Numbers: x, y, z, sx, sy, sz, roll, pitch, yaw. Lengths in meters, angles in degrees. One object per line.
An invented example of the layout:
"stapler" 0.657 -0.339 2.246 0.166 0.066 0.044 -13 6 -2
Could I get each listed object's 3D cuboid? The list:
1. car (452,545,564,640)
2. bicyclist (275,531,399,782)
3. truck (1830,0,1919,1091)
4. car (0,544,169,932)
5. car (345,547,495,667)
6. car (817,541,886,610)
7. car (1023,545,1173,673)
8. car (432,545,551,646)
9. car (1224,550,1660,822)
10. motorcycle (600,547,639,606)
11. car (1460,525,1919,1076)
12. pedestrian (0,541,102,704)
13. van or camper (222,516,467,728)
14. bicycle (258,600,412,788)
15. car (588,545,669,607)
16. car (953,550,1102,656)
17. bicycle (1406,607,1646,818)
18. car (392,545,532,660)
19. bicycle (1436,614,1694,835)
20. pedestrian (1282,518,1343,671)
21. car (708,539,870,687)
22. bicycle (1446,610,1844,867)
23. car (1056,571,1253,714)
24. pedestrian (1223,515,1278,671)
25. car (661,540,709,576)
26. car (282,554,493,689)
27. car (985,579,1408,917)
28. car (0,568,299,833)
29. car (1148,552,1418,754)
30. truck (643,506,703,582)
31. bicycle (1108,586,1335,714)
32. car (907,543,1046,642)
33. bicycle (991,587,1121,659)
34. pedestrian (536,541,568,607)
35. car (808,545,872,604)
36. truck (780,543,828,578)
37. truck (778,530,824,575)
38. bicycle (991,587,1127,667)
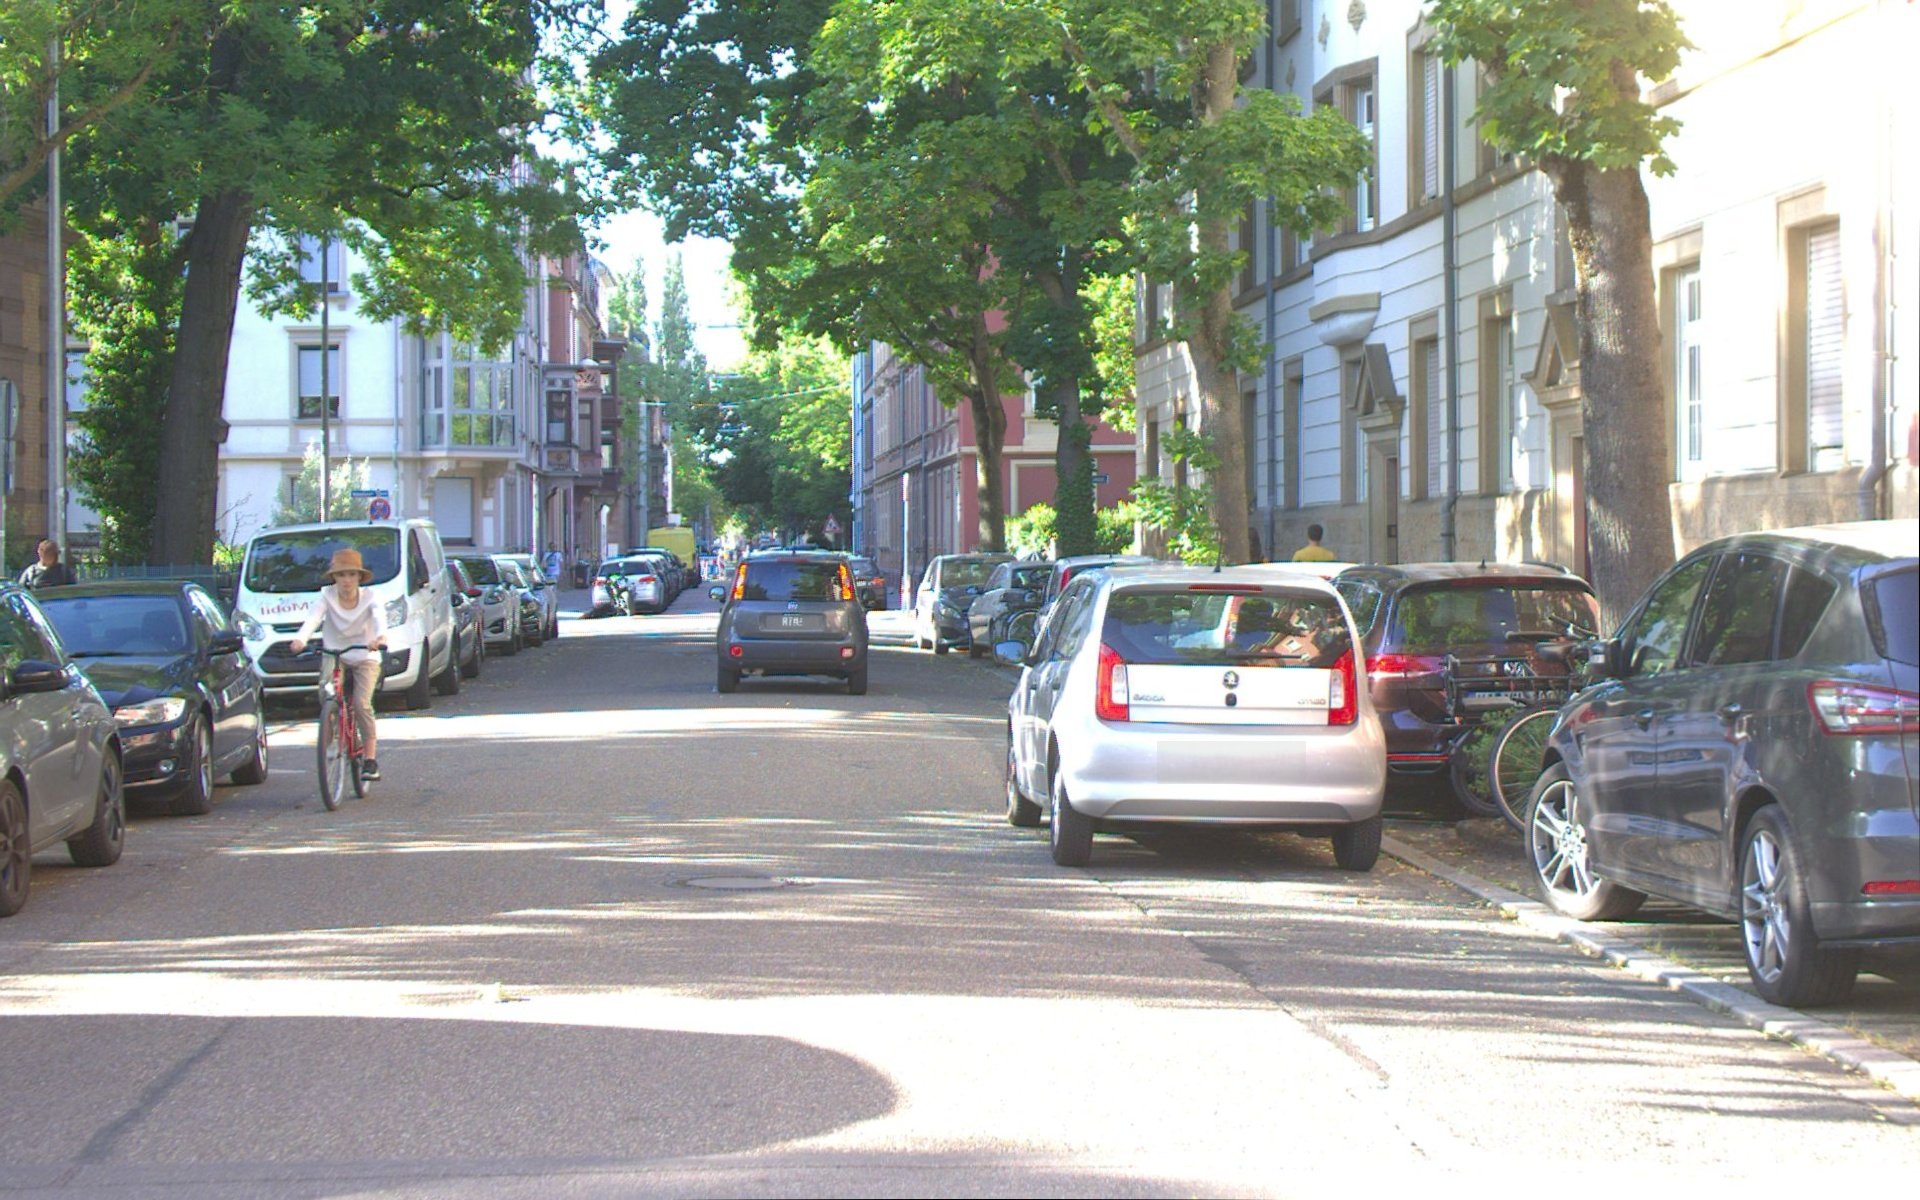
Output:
"car" -8.149 -0.159 62.182 1.696 1.545 3.920 -4 1 -4
"bicyclist" -3.791 0.333 20.948 0.651 1.503 0.625 0 1 -2
"truck" 3.810 -0.125 6.829 2.073 2.958 6.110 -3 1 -4
"car" -4.882 0.587 15.696 1.676 1.567 4.152 -3 1 -3
"car" -7.318 0.059 46.860 1.601 1.455 4.028 -3 1 -4
"car" -2.761 -0.632 86.750 1.663 1.663 3.757 1 1 -3
"car" 1.674 0.082 42.650 1.520 1.505 3.544 -1 1 -3
"car" -7.814 -0.106 57.090 1.746 1.469 4.465 -4 2 -9
"car" 2.896 0.456 21.629 1.786 1.508 4.460 0 1 -4
"motorcycle" -8.485 -0.593 85.603 0.696 1.455 1.751 -2 1 -13
"car" 3.433 0.570 13.242 1.885 1.710 4.945 -1 1 -5
"pedestrian" -8.882 0.216 33.577 0.881 1.572 0.529 0 1 -3
"van or camper" -6.432 0.172 36.472 1.921 1.973 5.463 -3 1 -4
"bicycle" -3.799 0.552 20.994 0.665 1.073 1.685 0 1 -1
"car" -8.550 -0.631 88.902 1.797 1.427 3.925 -4 1 -2
"car" 0.957 0.007 50.728 1.610 1.473 3.871 0 1 -8
"bicycle" 2.992 0.589 18.193 1.200 1.072 0.298 -1 1 -4
"car" -7.517 0.005 52.214 1.824 1.548 4.134 -4 1 -6
"bicycle" 3.263 0.666 18.557 1.307 1.136 0.328 -2 1 -3
"pedestrian" 3.941 -0.067 38.460 0.595 1.696 0.689 0 1 -2
"car" -1.905 0.104 37.571 1.632 1.545 3.265 0 1 -5
"bicycle" 3.396 0.675 17.109 1.810 1.163 0.569 -3 1 -4
"car" 2.023 0.409 36.729 1.622 1.389 4.158 -1 1 -3
"pedestrian" 3.259 -0.087 38.589 0.520 1.729 0.878 0 1 -2
"car" -12.516 -1.917 156.669 1.961 1.474 3.925 -4 1 -2
"car" -6.913 0.218 41.973 2.000 1.452 4.606 -3 1 -3
"car" 1.138 0.694 18.206 1.678 1.539 3.801 1 1 -4
"car" -5.402 0.571 21.978 1.713 1.390 4.780 -4 1 -5
"car" 2.543 0.373 27.841 1.596 1.483 3.749 -1 1 -3
"truck" -11.775 -2.303 141.411 2.070 2.916 5.068 -4 1 -3
"bicycle" 2.369 0.447 31.262 1.969 1.069 0.599 -2 1 -2
"car" 0.220 -0.151 56.318 1.788 1.545 4.411 0 1 -6
"bicycle" 1.313 0.314 47.388 1.715 0.946 0.733 -1 1 -3
"pedestrian" -11.337 -0.723 95.523 0.723 1.833 0.626 1 1 8
"car" -3.204 -0.697 91.228 1.663 1.500 3.757 1 1 -3
"truck" -6.817 -1.727 150.024 1.993 1.451 4.001 0 1 -4
"truck" -7.196 -2.147 155.387 1.993 1.985 4.001 0 1 -4
"bicycle" 1.325 0.359 46.164 1.769 1.036 0.606 0 1 -3
